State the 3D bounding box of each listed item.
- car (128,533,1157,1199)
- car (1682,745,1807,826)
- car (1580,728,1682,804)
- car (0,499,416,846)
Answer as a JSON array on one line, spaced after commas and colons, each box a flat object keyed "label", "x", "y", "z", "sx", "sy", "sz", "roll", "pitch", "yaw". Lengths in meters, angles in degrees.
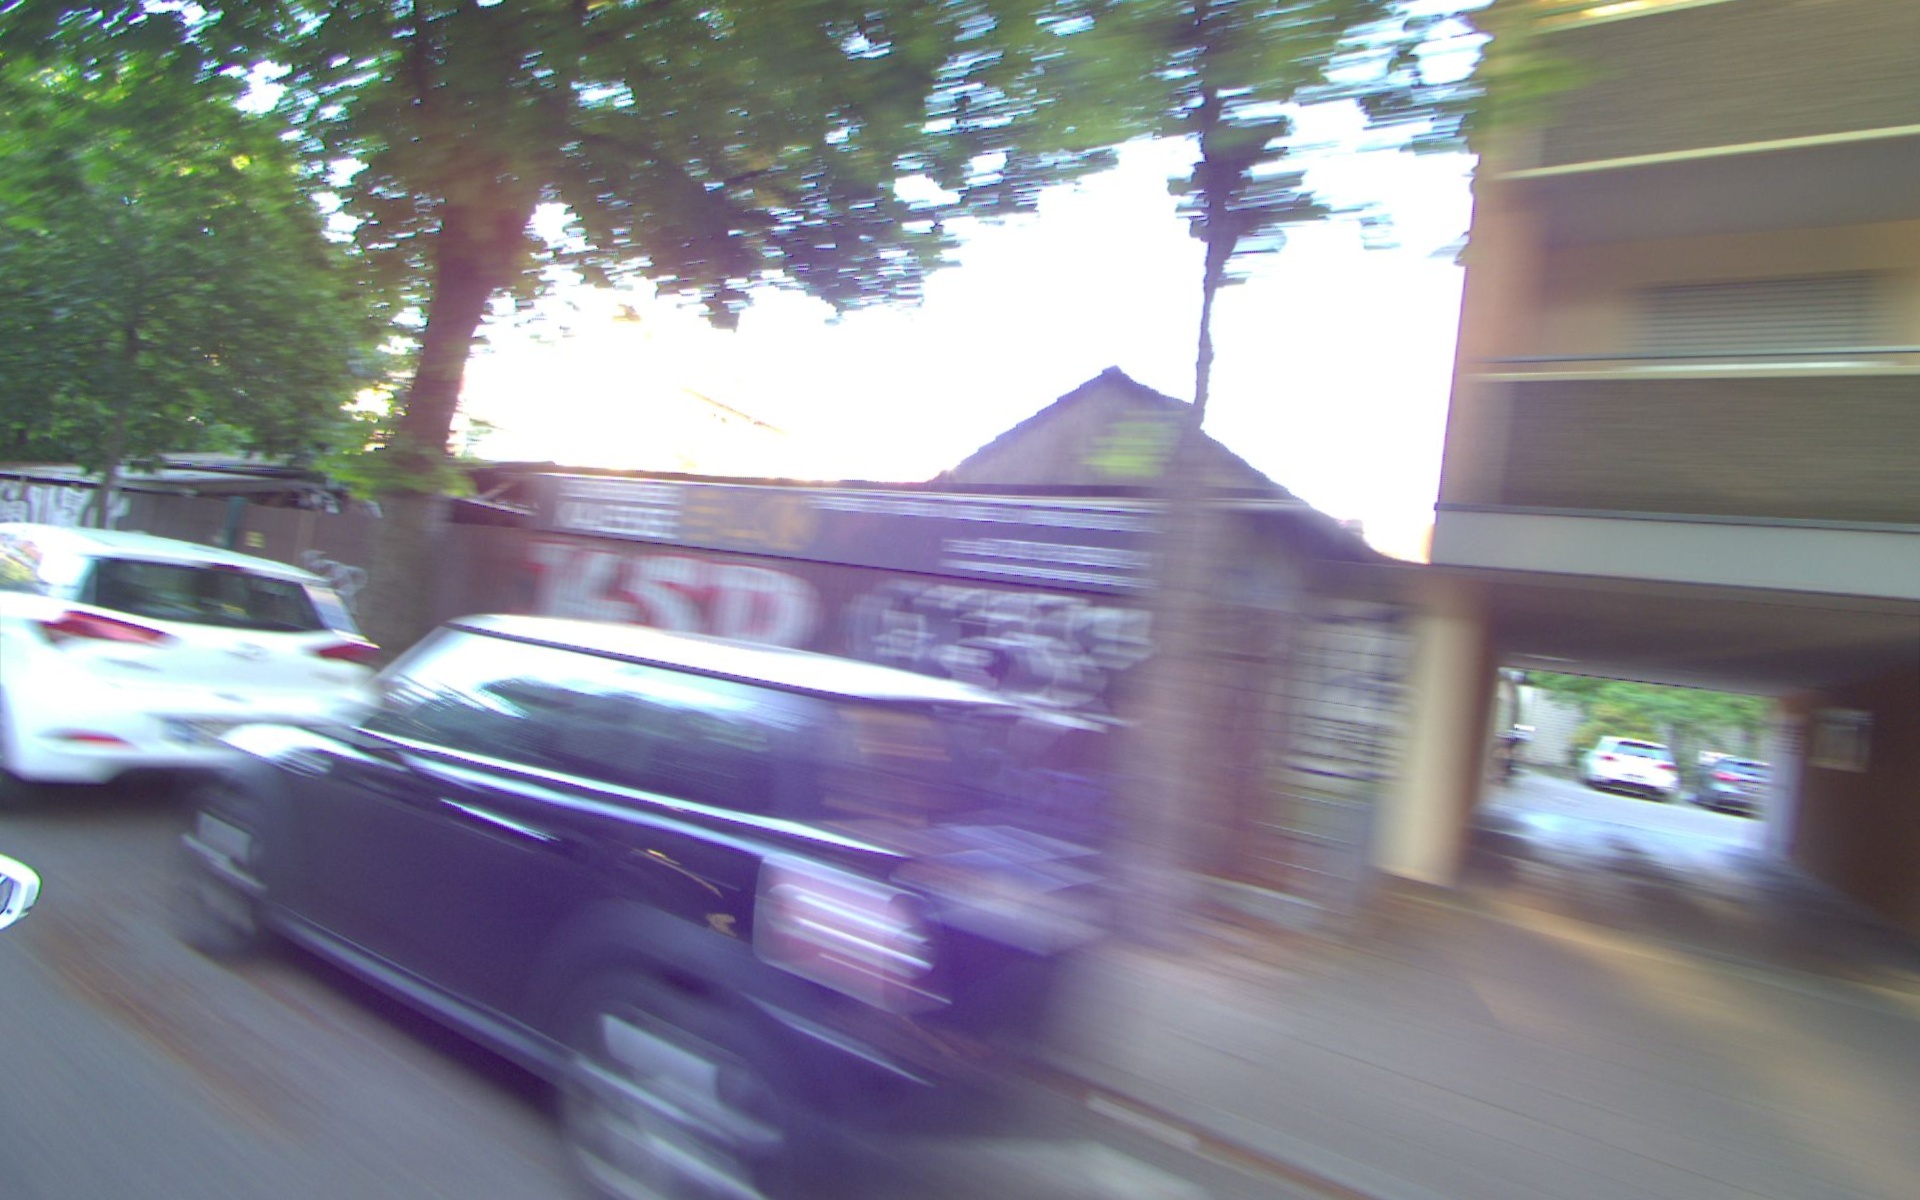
[{"label": "car", "x": -1.262, "y": 0.748, "z": 3.640, "sx": 3.396, "sy": 1.467, "sz": 1.566, "roll": 8, "pitch": -2, "yaw": 32}, {"label": "car", "x": 20.189, "y": 4.711, "z": 26.054, "sx": 1.967, "sy": 1.536, "sz": 3.996, "roll": 8, "pitch": -2, "yaw": 32}, {"label": "car", "x": 17.941, "y": 4.393, "z": 27.065, "sx": 1.967, "sy": 1.536, "sz": 3.996, "roll": 8, "pitch": -2, "yaw": 32}, {"label": "car", "x": -5.502, "y": 0.242, "z": 6.390, "sx": 3.959, "sy": 1.536, "sz": 1.726, "roll": 8, "pitch": -2, "yaw": 32}]
